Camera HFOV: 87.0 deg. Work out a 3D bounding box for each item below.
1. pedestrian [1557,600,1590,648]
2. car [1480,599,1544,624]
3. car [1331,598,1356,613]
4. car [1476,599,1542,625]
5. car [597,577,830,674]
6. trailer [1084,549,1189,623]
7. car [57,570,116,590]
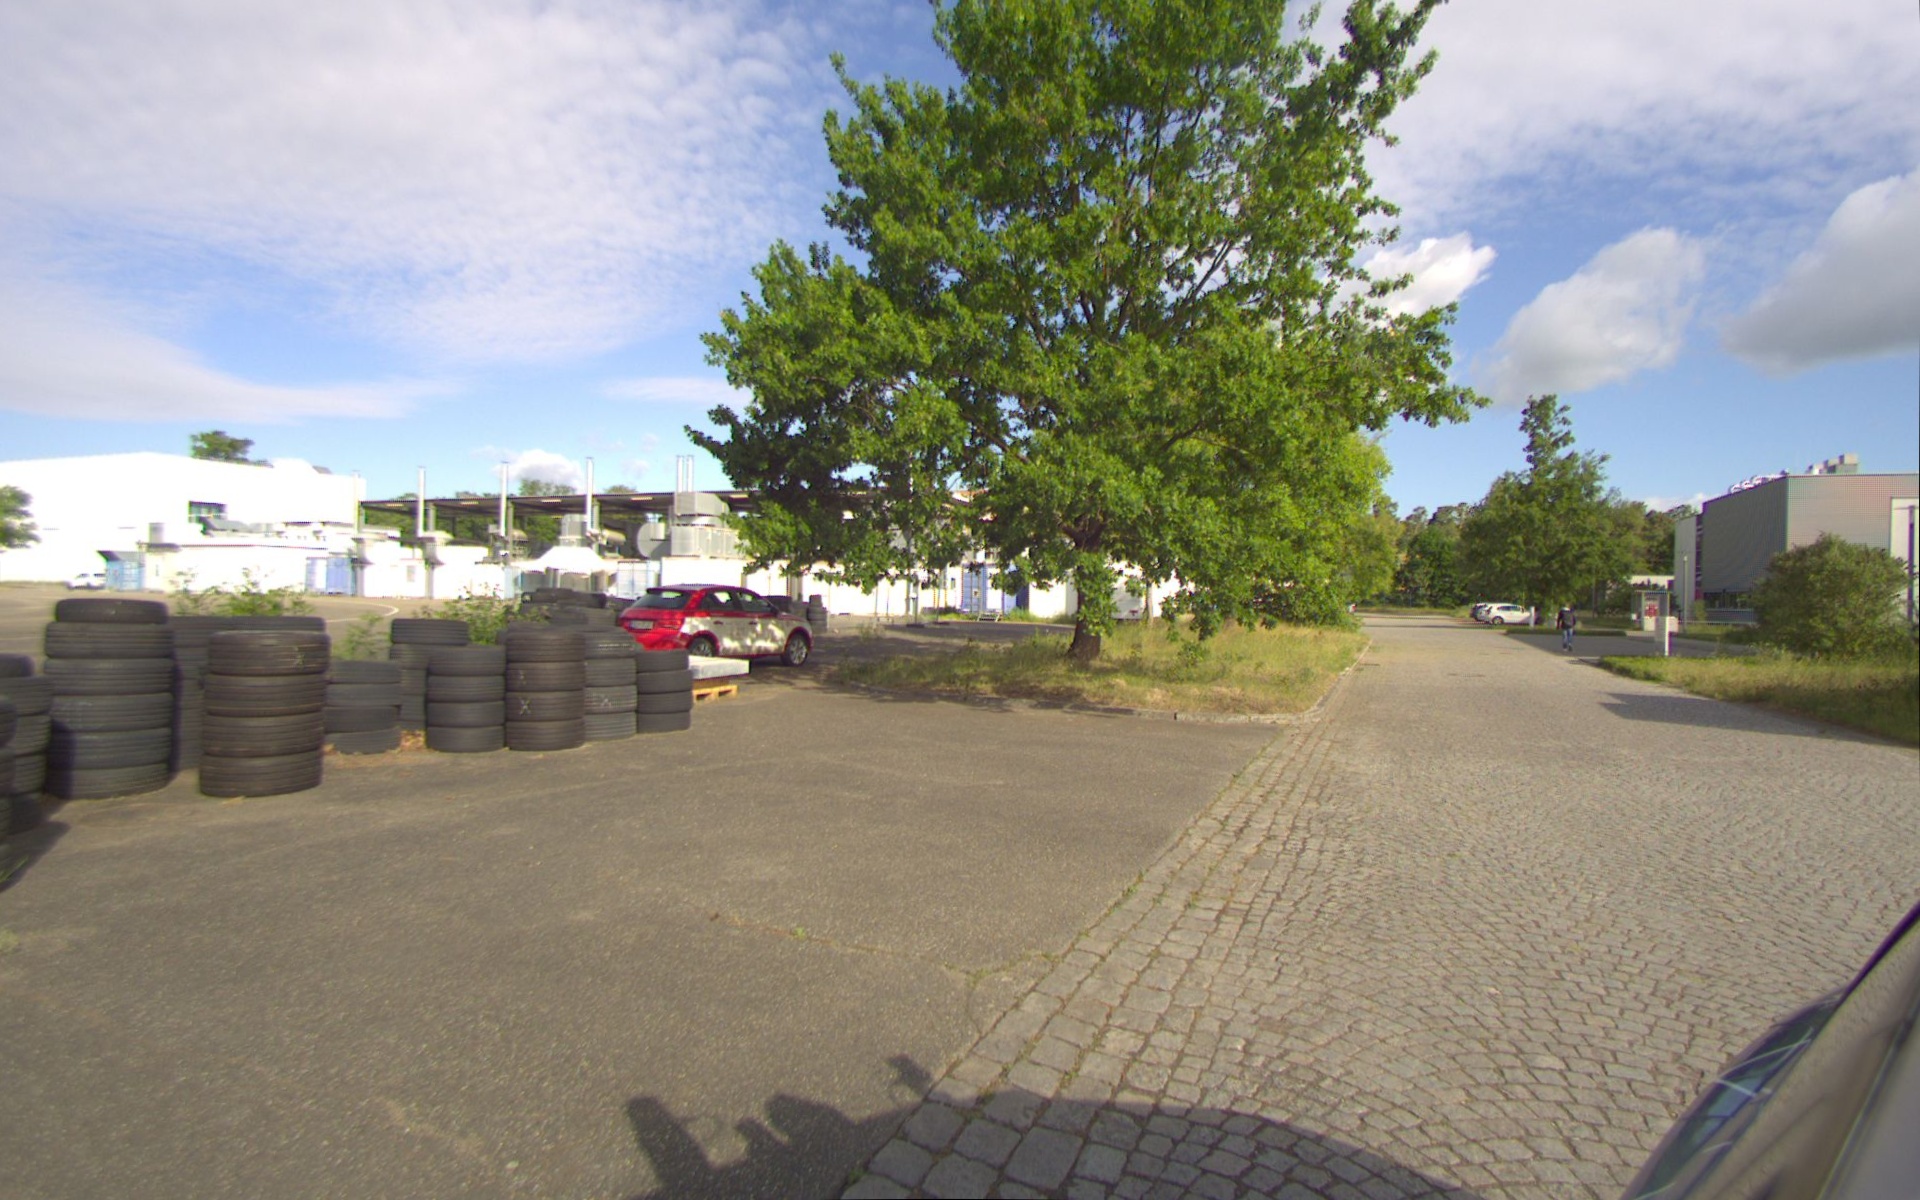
[{"bbox_3d":[20.590,0.793,33.969,0.862,1.578,1.015,1,0,35],"label":"pedestrian"},{"bbox_3d":[39.417,0.811,72.346,3.966,1.663,1.979,2,0,30],"label":"car"},{"bbox_3d":[36.704,0.525,97.013,1.973,1.388,3.977,1,0,17],"label":"car"},{"bbox_3d":[37.966,0.823,70.037,3.966,1.663,1.979,2,0,30],"label":"car"},{"bbox_3d":[-4.189,0.388,17.768,1.714,1.482,3.957,1,0,30],"label":"car"},{"bbox_3d":[9.467,-0.677,53.033,2.896,3.515,9.813,1,0,25],"label":"trailer"},{"bbox_3d":[-72.611,-1.677,84.129,4.495,1.584,1.861,1,0,22],"label":"car"}]
